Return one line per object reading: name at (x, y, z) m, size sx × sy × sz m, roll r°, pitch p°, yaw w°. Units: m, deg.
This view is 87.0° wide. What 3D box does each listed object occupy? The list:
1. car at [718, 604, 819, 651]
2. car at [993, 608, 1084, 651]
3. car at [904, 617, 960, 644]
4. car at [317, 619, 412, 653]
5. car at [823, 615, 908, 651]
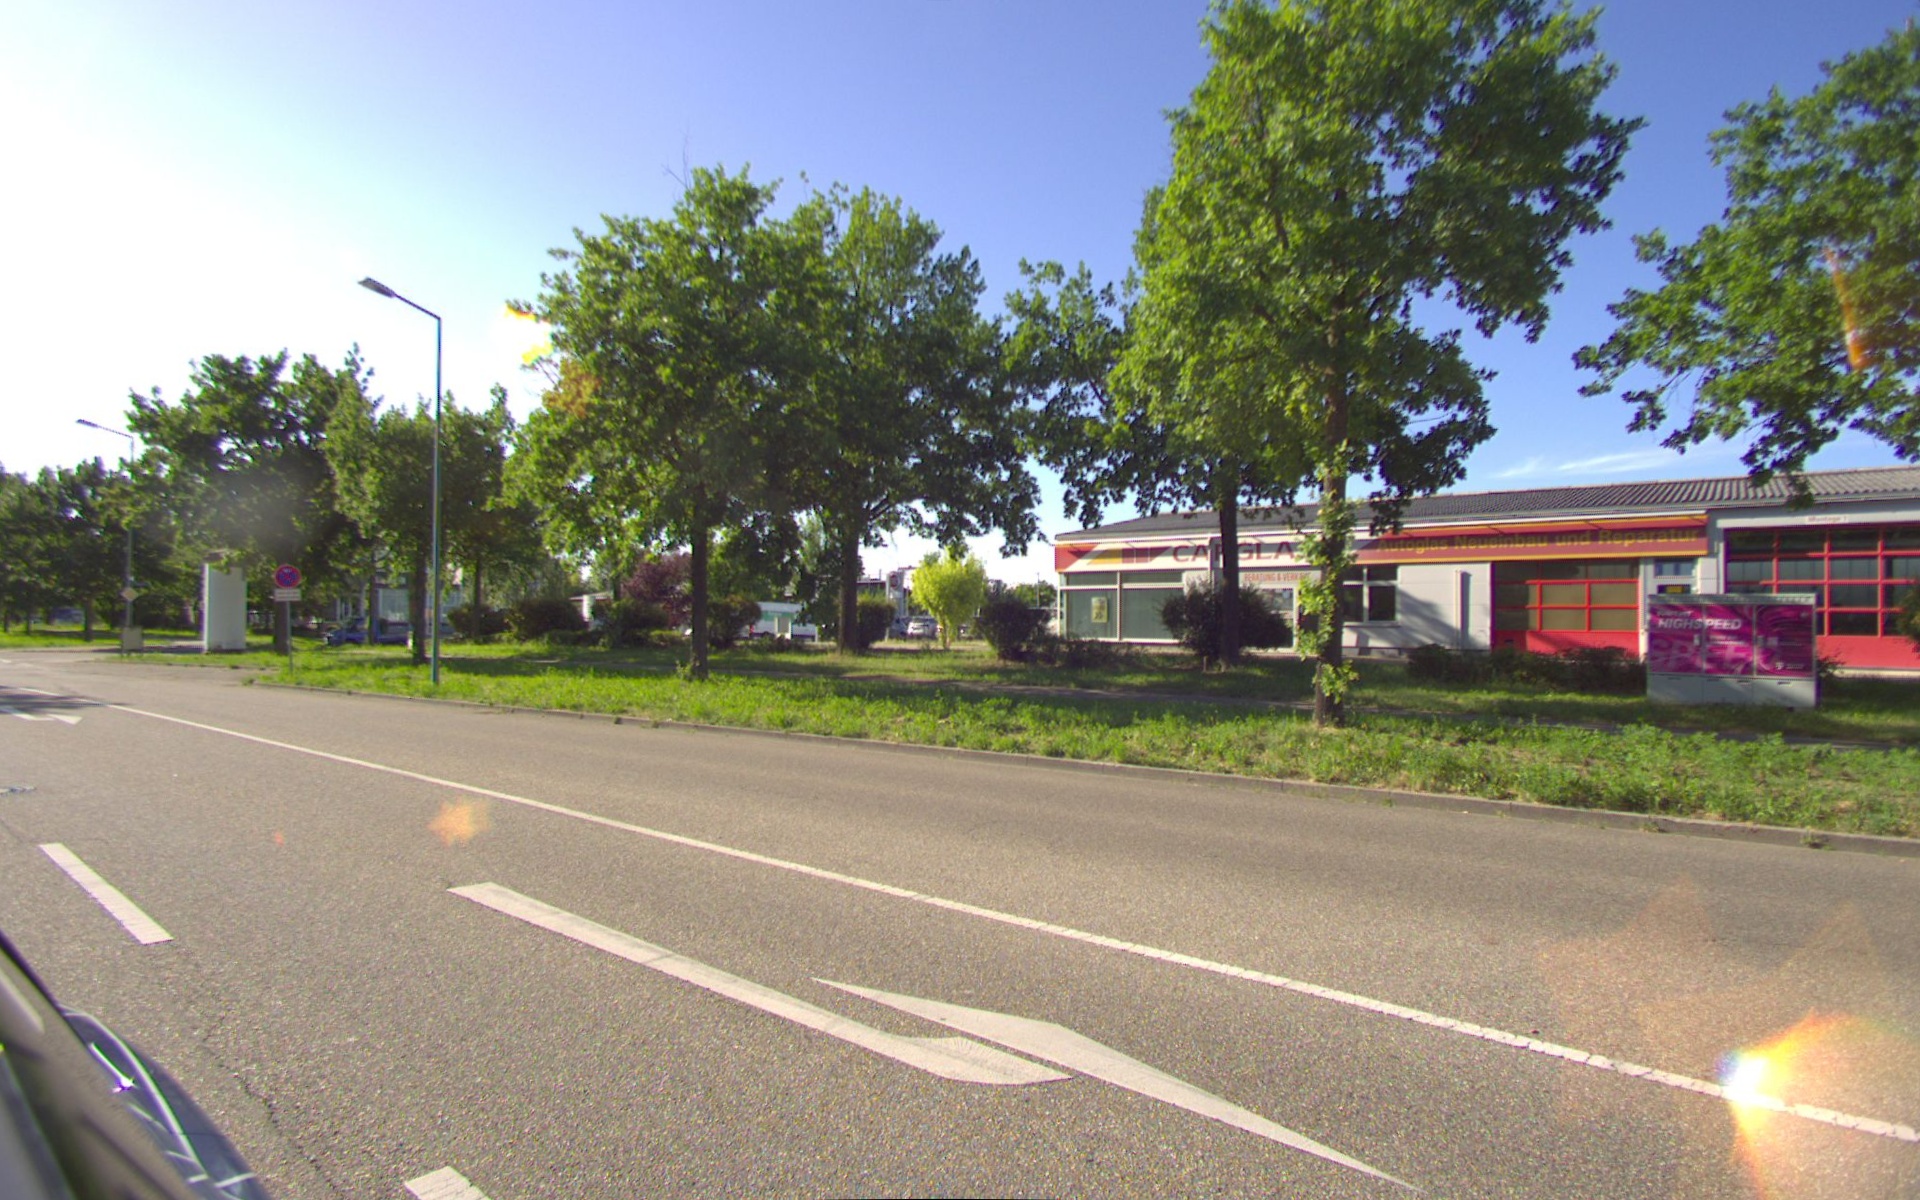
car at (-11.462, 1.591, 61.004) m, size 2.406 × 2.574 × 5.952 m, roll -1°, pitch 0°, yaw 36°
car at (3.205, 1.151, 40.610) m, size 1.734 × 1.583 × 3.769 m, roll -3°, pitch -1°, yaw 40°
car at (-1.882, 2.042, 68.628) m, size 1.761 × 1.684 × 3.811 m, roll -1°, pitch 0°, yaw 40°
car at (-35.980, 2.149, 61.236) m, size 1.999 × 1.847 × 4.578 m, roll -1°, pitch 0°, yaw 41°
car at (-5.155, 1.761, 55.794) m, size 1.989 × 1.795 × 4.583 m, roll -1°, pitch 0°, yaw 40°
